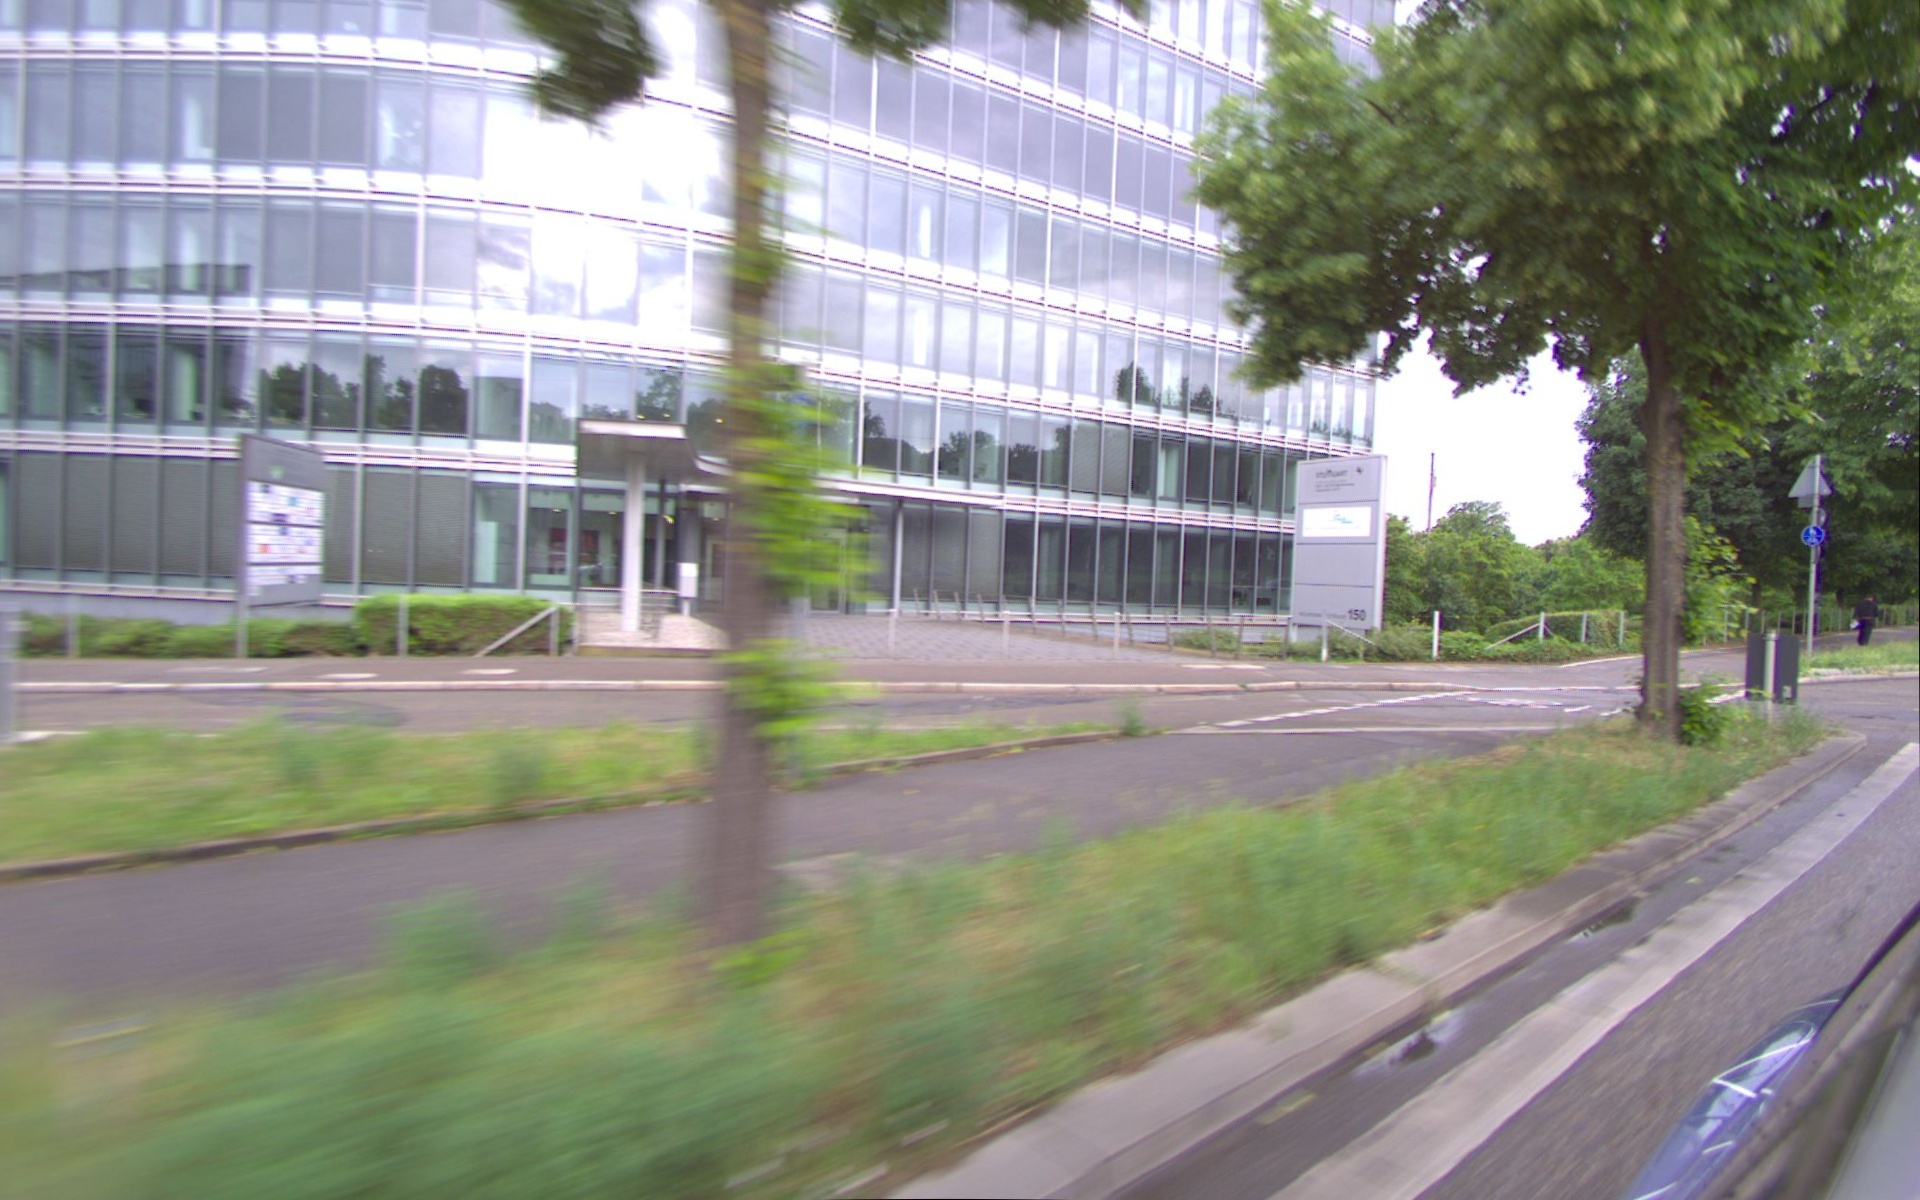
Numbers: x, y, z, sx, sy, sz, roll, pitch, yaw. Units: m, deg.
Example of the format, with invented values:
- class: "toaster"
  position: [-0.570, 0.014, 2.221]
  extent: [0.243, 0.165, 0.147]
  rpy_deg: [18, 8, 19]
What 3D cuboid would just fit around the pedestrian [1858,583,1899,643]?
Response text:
- class: "pedestrian"
  position: [28.745, 0.385, 31.675]
  extent: [0.852, 1.819, 0.827]
  rpy_deg: [0, 1, -40]
